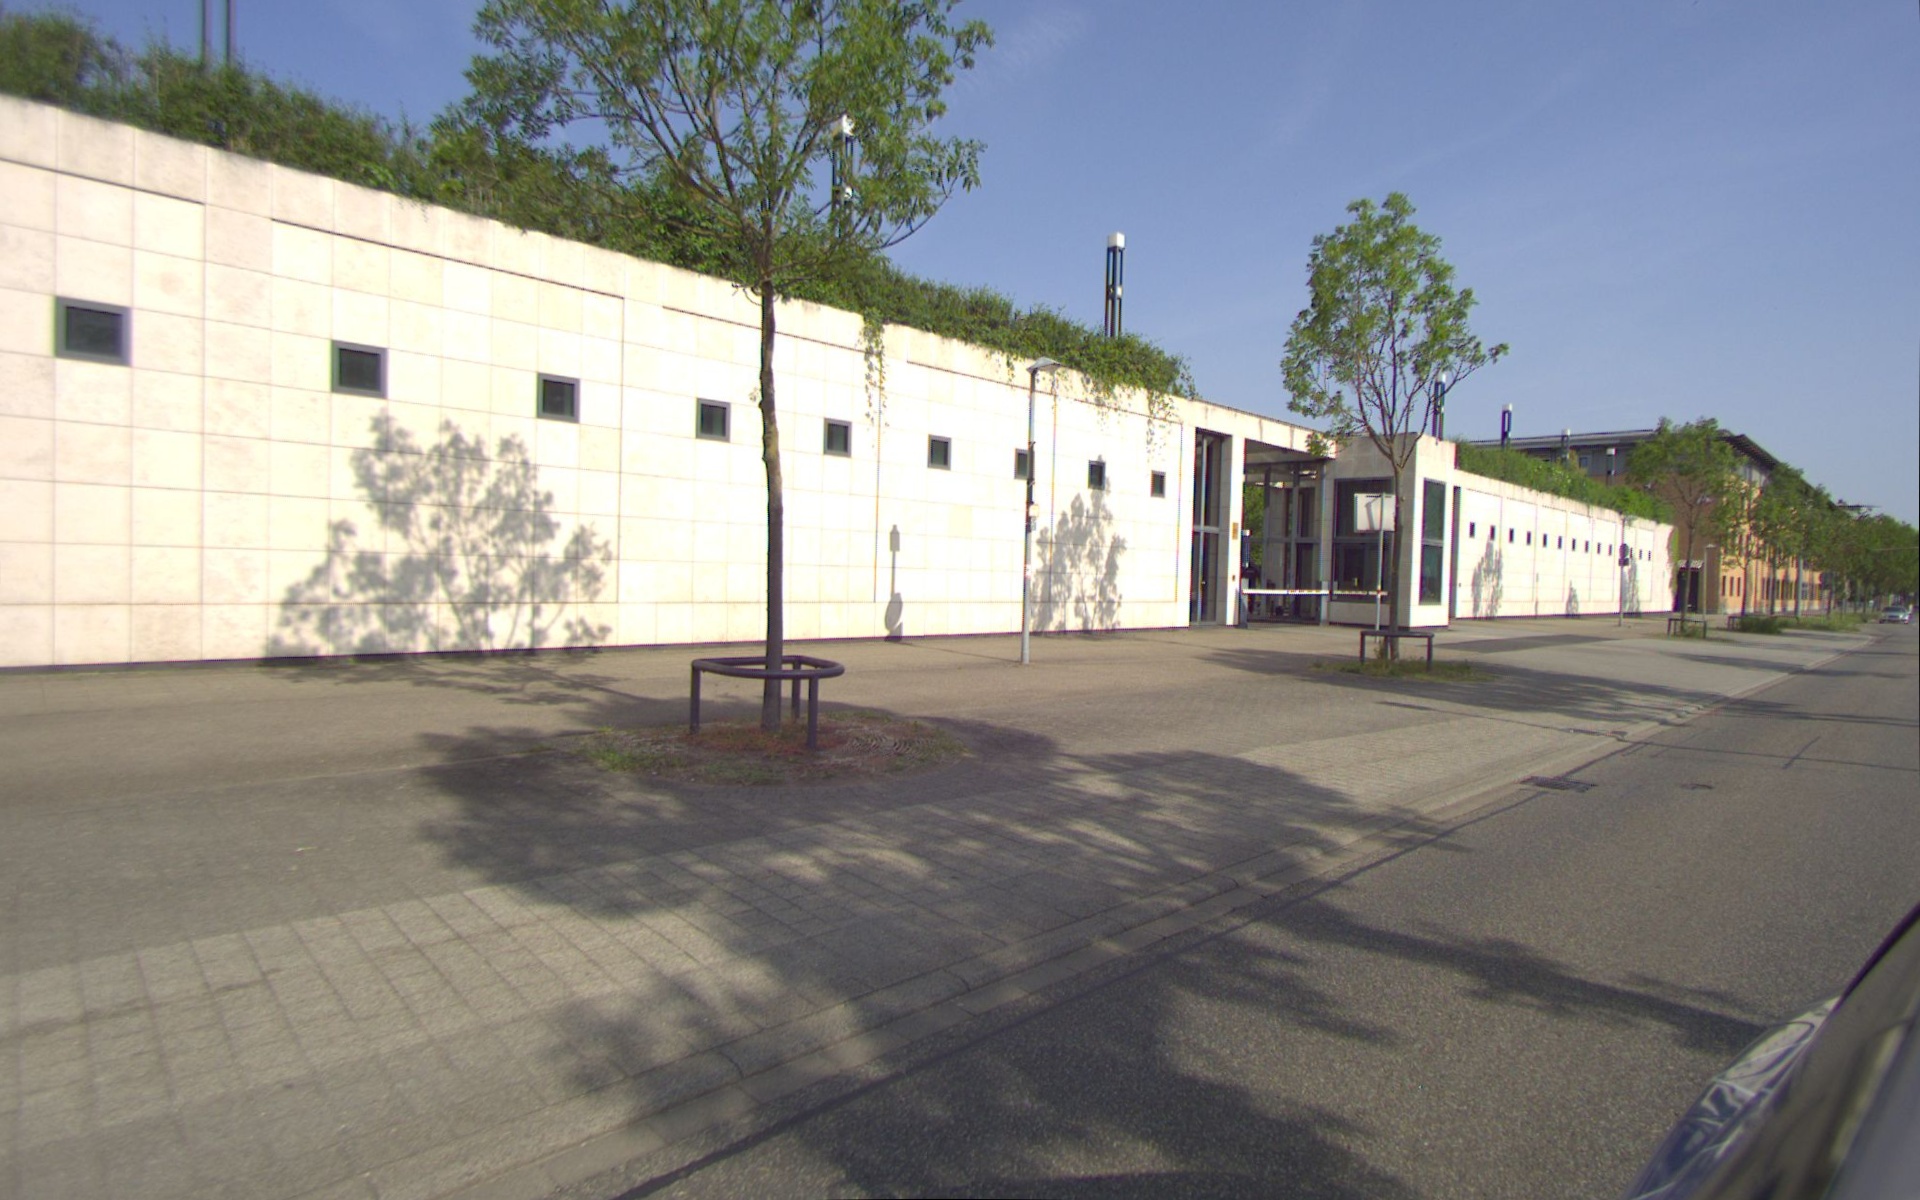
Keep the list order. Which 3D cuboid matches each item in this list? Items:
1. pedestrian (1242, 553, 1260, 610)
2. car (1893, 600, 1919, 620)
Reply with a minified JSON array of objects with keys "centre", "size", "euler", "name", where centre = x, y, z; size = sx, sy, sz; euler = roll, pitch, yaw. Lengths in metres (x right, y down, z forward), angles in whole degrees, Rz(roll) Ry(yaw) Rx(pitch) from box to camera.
[{"centre":[9.819,-0.640,34.154],"size":[0.548,1.895,0.592],"euler":[0,2,12],"name":"pedestrian"},{"centre":[73.647,0.783,78.614],"size":[1.625,1.503,3.313],"euler":[0,0,44],"name":"car"}]
